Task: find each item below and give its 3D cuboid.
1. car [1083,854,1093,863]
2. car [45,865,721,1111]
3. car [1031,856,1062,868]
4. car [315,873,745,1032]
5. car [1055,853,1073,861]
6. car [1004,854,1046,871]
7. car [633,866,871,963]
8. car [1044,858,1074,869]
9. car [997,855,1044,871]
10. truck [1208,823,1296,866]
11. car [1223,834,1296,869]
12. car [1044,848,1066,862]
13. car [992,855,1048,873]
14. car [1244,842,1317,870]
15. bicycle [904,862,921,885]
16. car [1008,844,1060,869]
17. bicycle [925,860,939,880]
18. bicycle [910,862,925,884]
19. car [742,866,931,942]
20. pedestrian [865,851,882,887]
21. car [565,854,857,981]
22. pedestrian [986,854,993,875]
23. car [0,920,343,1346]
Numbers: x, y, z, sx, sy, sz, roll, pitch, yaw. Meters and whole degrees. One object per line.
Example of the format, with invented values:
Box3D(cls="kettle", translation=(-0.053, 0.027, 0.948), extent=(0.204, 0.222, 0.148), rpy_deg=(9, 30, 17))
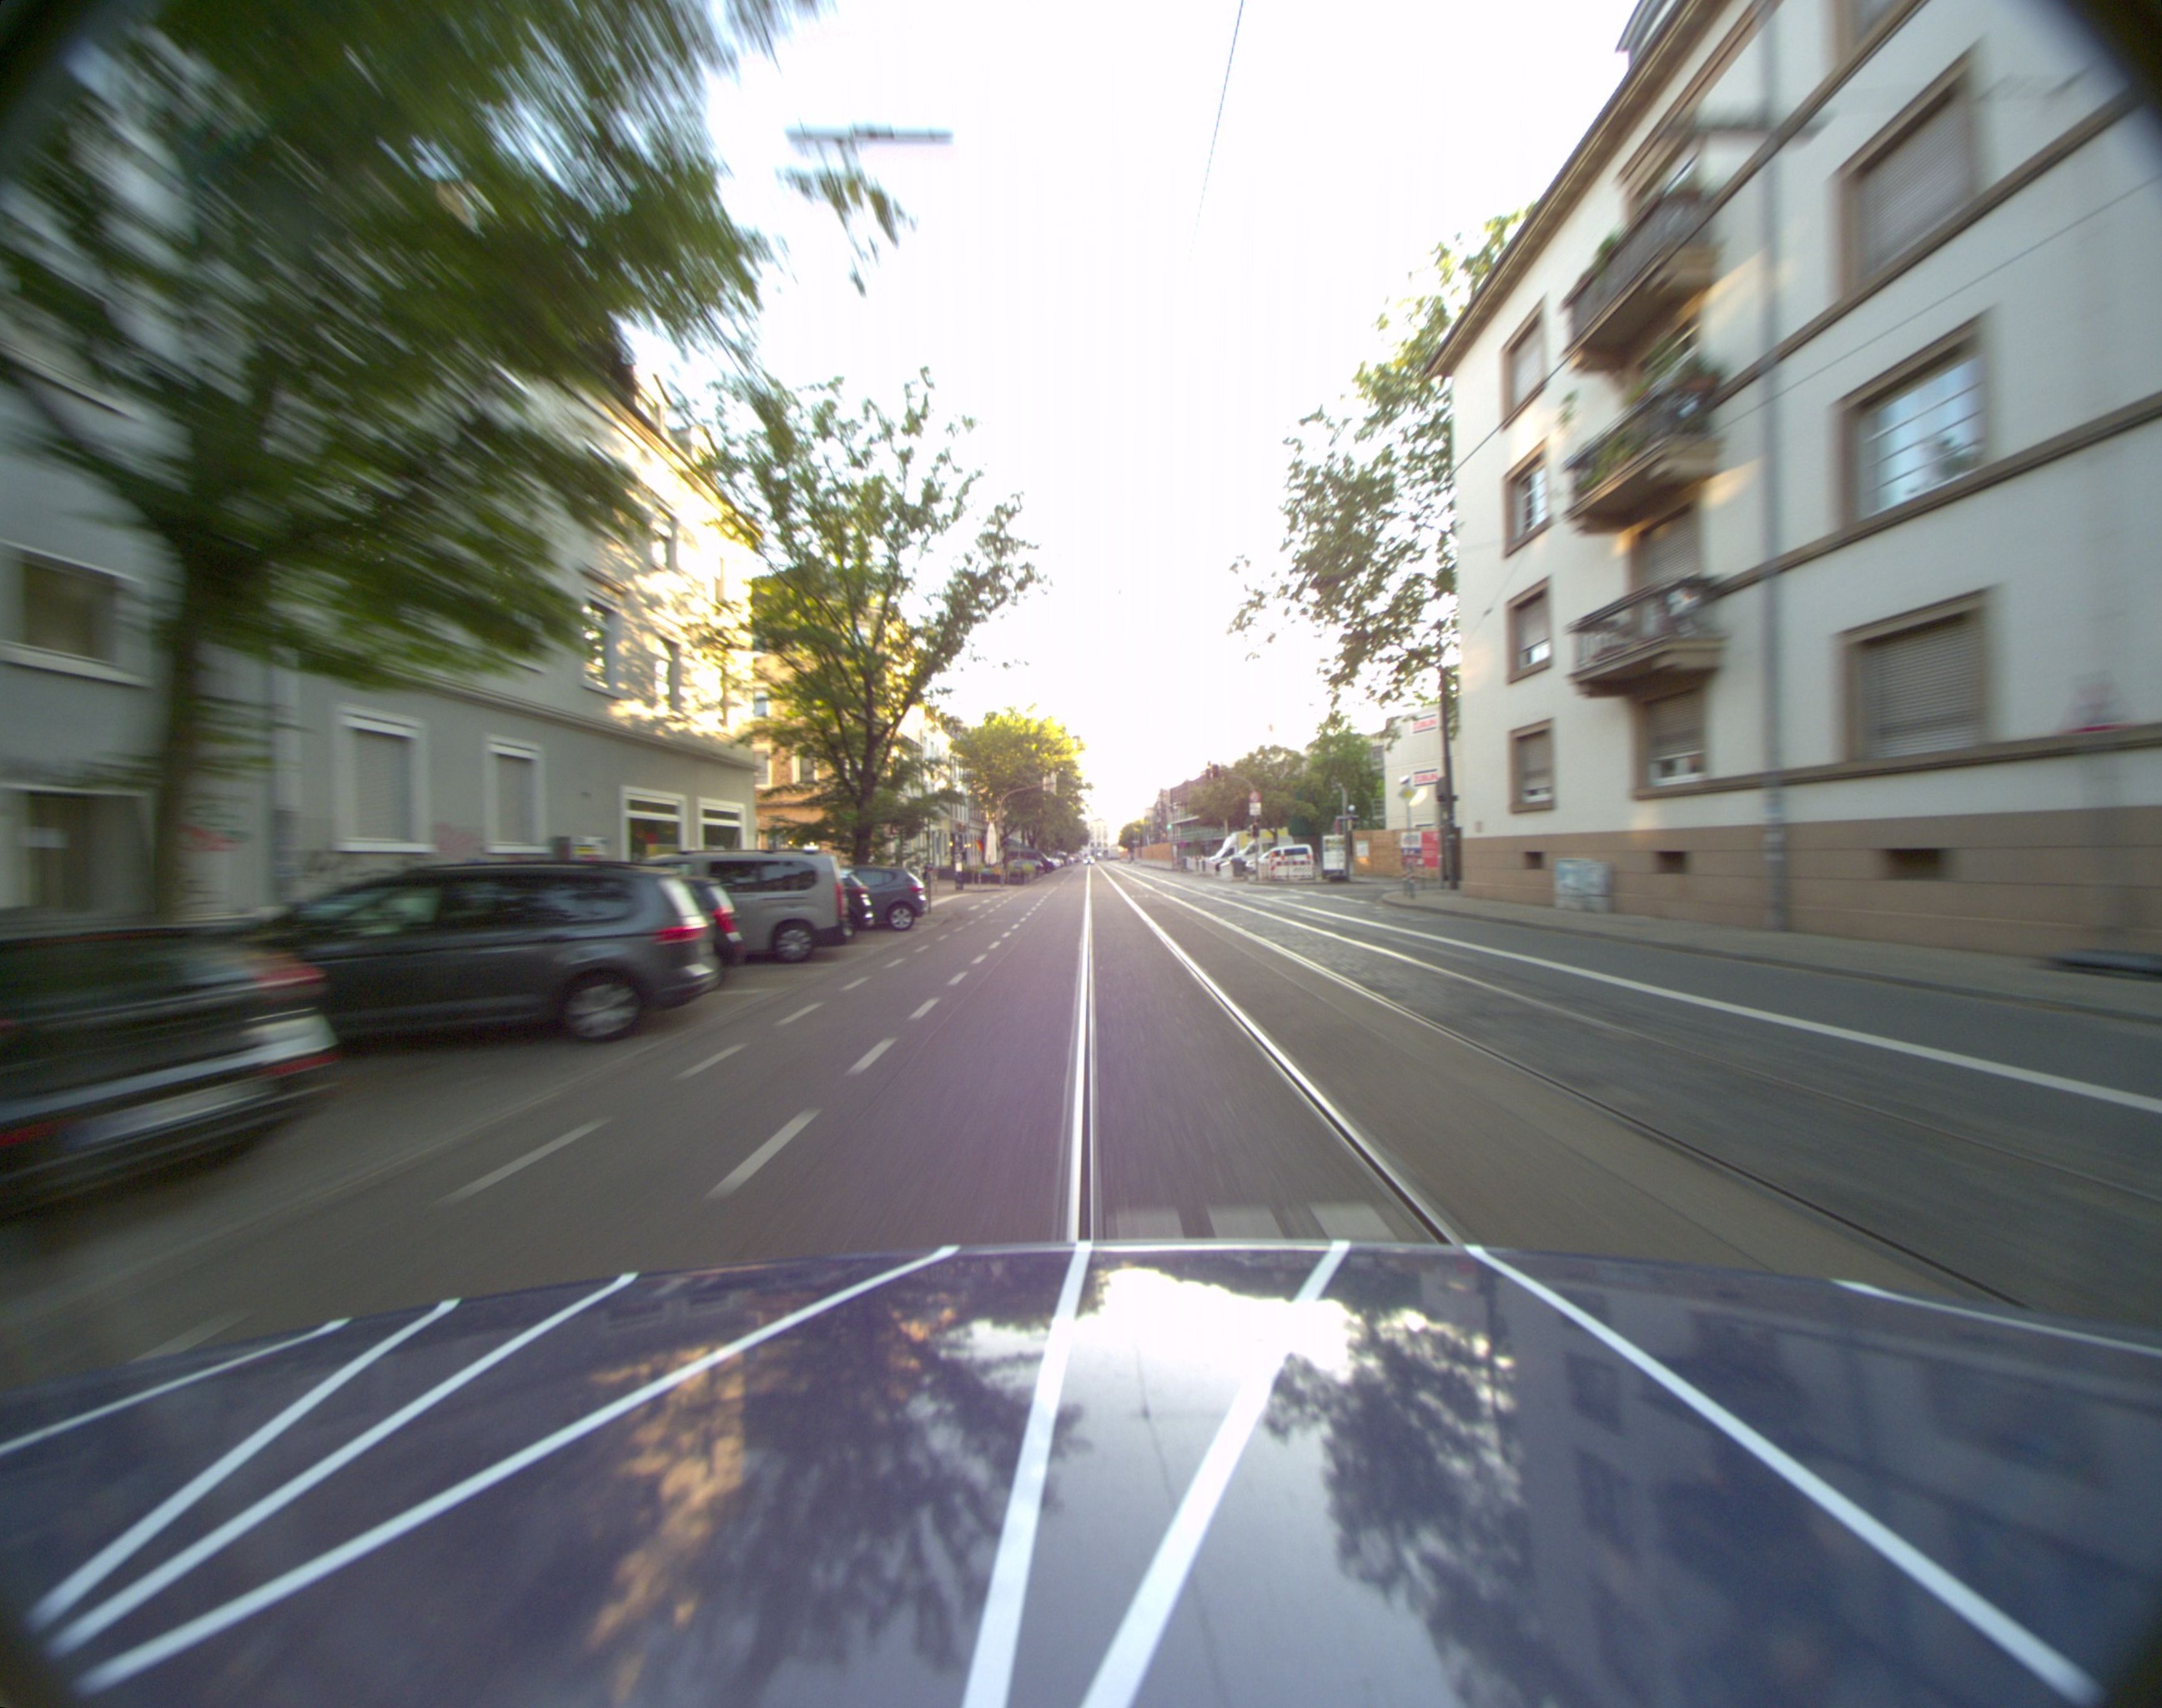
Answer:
Box3D(cls="car", translation=(1.406, 0.905, 151.197), extent=(1.998, 1.674, 4.000), rpy_deg=(-2, 0, 1))
Box3D(cls="car", translation=(-5.721, 0.978, 7.020), extent=(4.197, 1.686, 1.843), rpy_deg=(0, 0, -22))
Box3D(cls="car", translation=(-4.650, 1.071, 102.150), extent=(3.997, 1.566, 1.720), rpy_deg=(0, -1, -14))
Box3D(cls="car", translation=(-6.459, 1.076, 9.501), extent=(4.004, 1.557, 1.717), rpy_deg=(-1, 0, -21))
Box3D(cls="car", translation=(-3.717, 0.663, 169.824), extent=(3.991, 1.681, 1.722), rpy_deg=(0, -1, 1))
Box3D(cls="car", translation=(-5.434, 0.835, 74.216), extent=(3.992, 1.689, 1.722), rpy_deg=(0, -1, -1))
Box3D(cls="car", translation=(-6.270, 1.088, 14.874), extent=(4.004, 1.557, 1.717), rpy_deg=(-2, 0, -21))
Box3D(cls="car", translation=(-3.213, 1.333, 109.464), extent=(3.997, 1.566, 1.720), rpy_deg=(0, -1, -14))
Box3D(cls="car", translation=(-5.619, 0.816, 70.427), extent=(4.121, 1.444, 1.808), rpy_deg=(0, -1, -15))
Box3D(cls="truck", translation=(15.075, -0.836, 67.339), extent=(7.077, 3.408, 2.565), rpy_deg=(-2, 0, -3))
Box3D(cls="car", translation=(14.363, -0.221, 61.387), extent=(5.233, 2.582, 2.229), rpy_deg=(-2, 0, -3))
Box3D(cls="car", translation=(-4.862, 0.250, 141.141), extent=(3.991, 2.551, 1.722), rpy_deg=(0, -1, 1))
Box3D(cls="car", translation=(-5.388, 0.876, 67.544), extent=(4.643, 1.508, 1.807), rpy_deg=(0, -1, -26))
Box3D(cls="car", translation=(14.563, 0.138, 55.669), extent=(4.844, 1.862, 2.015), rpy_deg=(-2, 0, 2))
Box3D(cls="bicycle", translation=(-9.271, 1.080, 41.767), extent=(0.525, 1.203, 1.586), rpy_deg=(-2, 0, 1))
Box3D(cls="car", translation=(-5.013, 0.253, 80.658), extent=(5.236, 2.605, 1.925), rpy_deg=(0, 0, -16))
Box3D(cls="bicycle", translation=(-9.447, 1.023, 48.072), extent=(0.471, 1.203, 1.783), rpy_deg=(-2, 0, 1))
Box3D(cls="bicycle", translation=(-9.414, 1.093, 43.754), extent=(0.471, 1.203, 1.586), rpy_deg=(-2, 0, 1))
Box3D(cls="car", translation=(-5.706, 1.108, 17.969), extent=(4.003, 1.531, 1.776), rpy_deg=(-2, 0, -18))
Box3D(cls="pedestrian", translation=(-10.729, 0.779, 39.276), extent=(0.558, 1.821, 0.613), rpy_deg=(-1, -2, 38))
Box3D(cls="car", translation=(-5.807, 0.918, 12.416), extent=(4.004, 1.805, 1.821), rpy_deg=(0, 0, -20))
Box3D(cls="pedestrian", translation=(-7.531, 0.839, 62.531), extent=(0.498, 1.742, 0.646), rpy_deg=(0, 1, 5))
Box3D(cls="car", translation=(-5.964, 1.092, 3.194), extent=(3.997, 1.455, 1.720), rpy_deg=(0, 0, -1))
